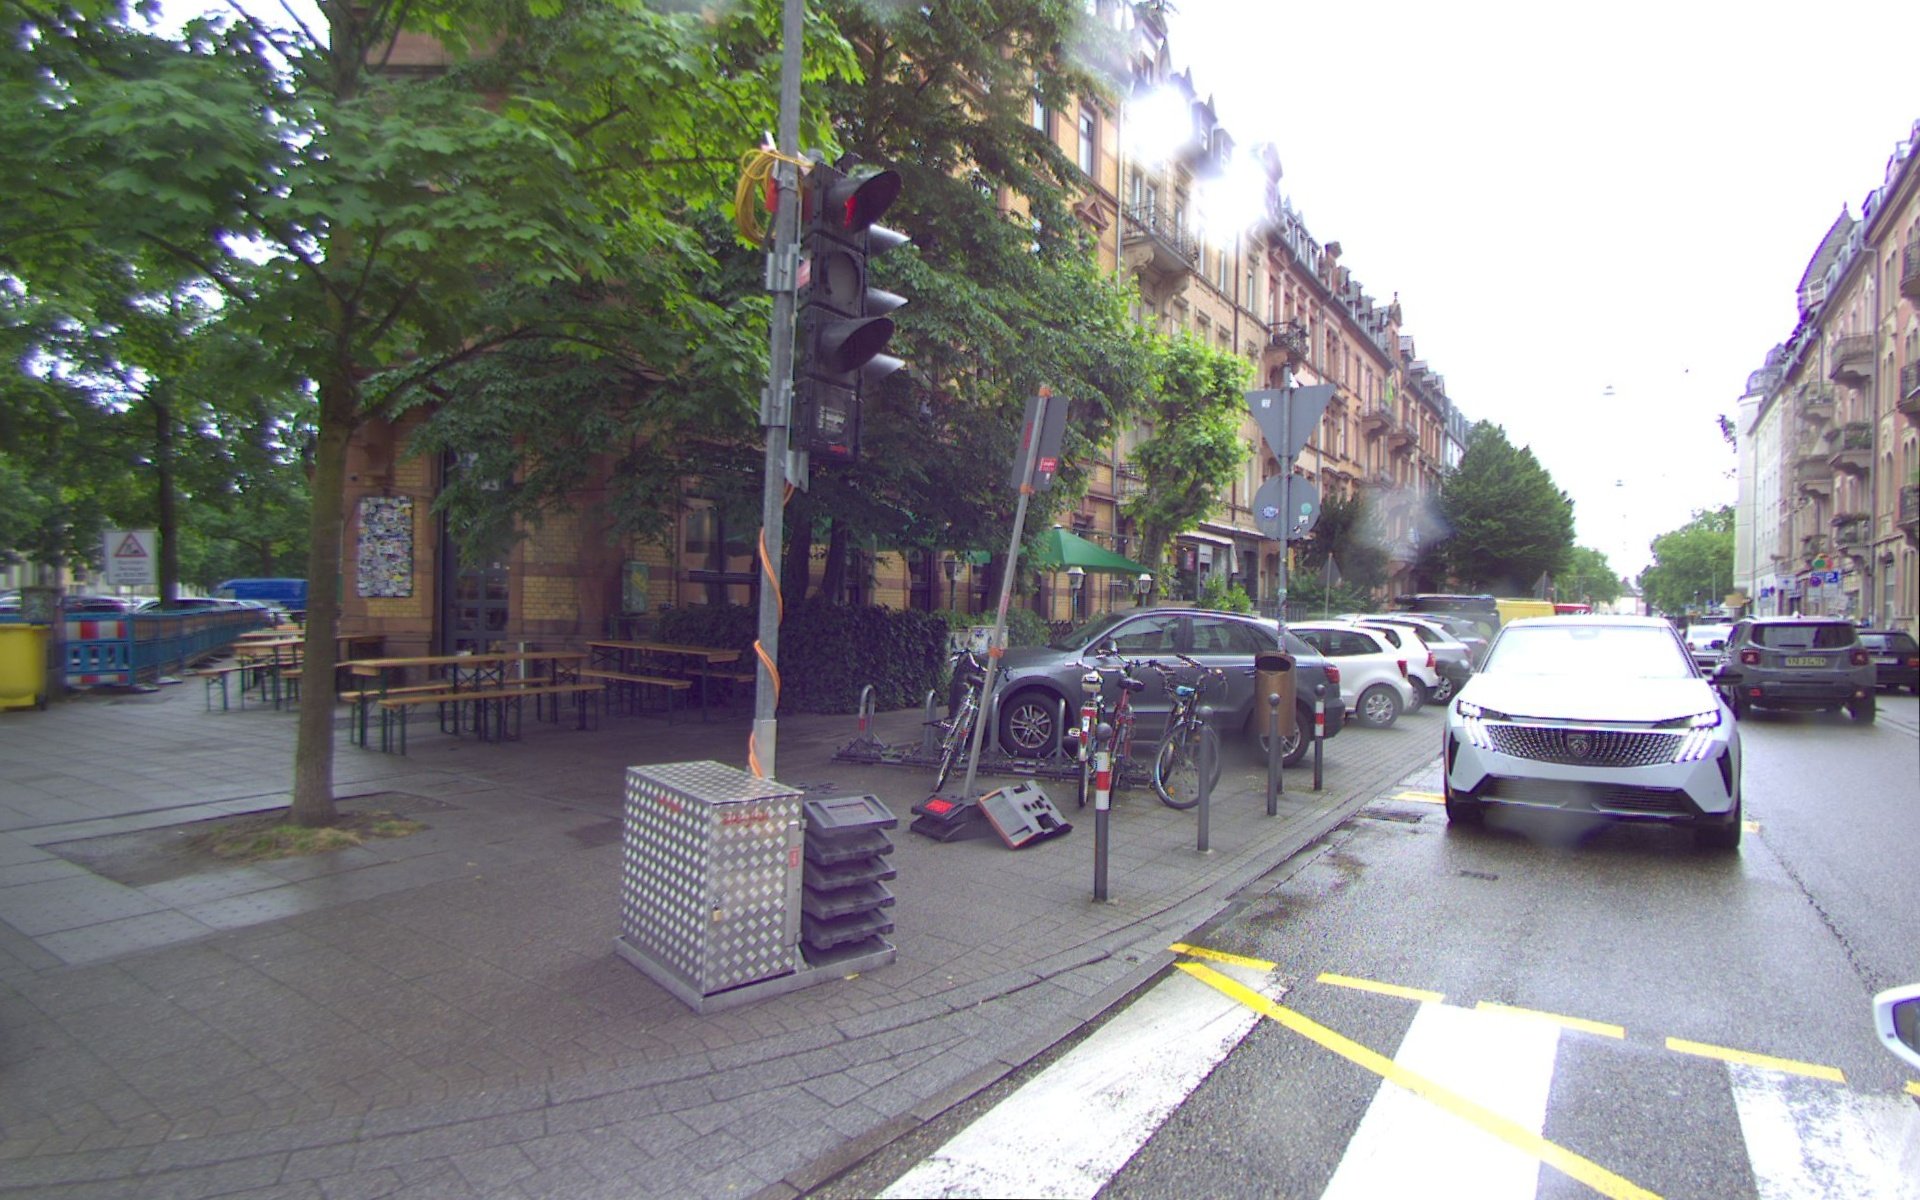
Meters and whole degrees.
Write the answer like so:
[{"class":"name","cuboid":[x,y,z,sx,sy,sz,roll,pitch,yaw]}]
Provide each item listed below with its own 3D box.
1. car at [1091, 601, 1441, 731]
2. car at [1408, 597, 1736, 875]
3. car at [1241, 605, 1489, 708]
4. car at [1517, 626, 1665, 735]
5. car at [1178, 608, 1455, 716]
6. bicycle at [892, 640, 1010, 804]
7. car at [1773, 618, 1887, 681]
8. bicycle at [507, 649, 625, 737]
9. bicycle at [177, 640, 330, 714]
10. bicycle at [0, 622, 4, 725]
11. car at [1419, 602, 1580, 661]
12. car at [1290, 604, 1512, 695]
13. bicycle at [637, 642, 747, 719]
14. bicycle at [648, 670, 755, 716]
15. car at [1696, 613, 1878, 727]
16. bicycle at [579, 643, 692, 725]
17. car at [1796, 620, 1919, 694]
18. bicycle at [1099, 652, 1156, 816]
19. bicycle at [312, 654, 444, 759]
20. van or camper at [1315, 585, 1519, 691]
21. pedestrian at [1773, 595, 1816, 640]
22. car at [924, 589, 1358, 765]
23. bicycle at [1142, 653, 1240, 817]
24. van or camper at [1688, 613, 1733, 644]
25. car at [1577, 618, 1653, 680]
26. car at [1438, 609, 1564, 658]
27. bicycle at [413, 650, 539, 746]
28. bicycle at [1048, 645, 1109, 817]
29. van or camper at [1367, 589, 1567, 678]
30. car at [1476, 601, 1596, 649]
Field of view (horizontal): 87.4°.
[{"class":"car","cuboid":[4.448,0.937,15.199,4.632,1.584,2.000,3,1,0]},{"class":"car","cuboid":[5.424,0.901,8.657,1.835,1.682,4.990,-1,-2,36]},{"class":"car","cuboid":[7.848,1.065,19.697,4.058,1.684,1.801,4,0,-2]},{"class":"car","cuboid":[10.190,1.275,16.205,1.771,1.513,4.128,-2,-5,33]},{"class":"car","cuboid":[6.021,1.028,17.299,4.057,1.513,1.801,4,-1,-1]},{"class":"bicycle","cuboid":[-0.023,0.956,8.537,0.761,1.158,1.932,1,-1,6]},{"class":"car","cuboid":[23.780,1.298,27.605,1.846,1.582,4.331,-1,-2,34]},{"class":"bicycle","cuboid":[-4.213,0.969,10.705,1.370,0.826,0.405,1,0,30]},{"class":"bicycle","cuboid":[-8.430,0.911,12.008,1.516,0.826,0.405,1,-1,0]},{"class":"bicycle","cuboid":[-11.584,0.786,11.259,2.371,1.106,0.740,0,-1,34]},{"class":"car","cuboid":[20.759,1.192,38.871,5.146,2.106,1.871,1,-1,10]},{"class":"car","cuboid":[9.685,1.074,22.259,4.058,1.684,1.801,4,-1,-2]},{"class":"bicycle","cuboid":[-3.191,0.940,11.936,1.370,0.826,0.405,1,-1,30]},{"class":"bicycle","cuboid":[-3.154,1.116,12.230,1.370,0.459,0.405,1,-1,30]},{"class":"car","cuboid":[14.045,1.091,17.324,1.872,1.693,4.494,0,-1,33]},{"class":"bicycle","cuboid":[-3.676,0.924,11.347,1.370,0.826,0.405,1,0,30]},{"class":"car","cuboid":[20.819,1.250,23.316,1.763,1.486,4.469,0,0,34]},{"class":"bicycle","cuboid":[1.394,1.048,8.388,0.391,1.158,1.683,2,-1,9]},{"class":"bicycle","cuboid":[-5.247,0.931,9.037,1.370,0.826,0.405,1,0,30]},{"class":"van or camper","cuboid":[11.087,0.913,24.590,4.003,2.269,1.938,3,-1,2]},{"class":"pedestrian","cuboid":[37.474,0.785,45.091,0.811,1.927,0.678,43,-15,-14]},{"class":"car","cuboid":[1.825,0.814,11.172,4.372,1.584,2.000,3,-1,-2]},{"class":"bicycle","cuboid":[1.902,1.067,8.460,0.575,1.158,1.683,2,-1,6]},{"class":"van or camper","cuboid":[48.333,1.816,64.769,1.994,1.916,5.041,-1,-2,33]},{"class":"car","cuboid":[20.480,1.456,31.351,1.771,1.514,4.568,6,4,34]},{"class":"car","cuboid":[23.488,1.410,43.630,4.516,1.809,2.538,3,1,34]},{"class":"bicycle","cuboid":[-4.741,0.934,9.821,1.370,0.826,0.405,1,0,30]},{"class":"bicycle","cuboid":[1.015,1.012,8.374,0.391,1.201,1.879,2,-1,9]},{"class":"van or camper","cuboid":[14.711,0.928,29.378,4.633,2.298,2.185,3,1,2]},{"class":"car","cuboid":[32.947,1.389,57.608,5.460,2.575,2.230,1,0,7]}]
